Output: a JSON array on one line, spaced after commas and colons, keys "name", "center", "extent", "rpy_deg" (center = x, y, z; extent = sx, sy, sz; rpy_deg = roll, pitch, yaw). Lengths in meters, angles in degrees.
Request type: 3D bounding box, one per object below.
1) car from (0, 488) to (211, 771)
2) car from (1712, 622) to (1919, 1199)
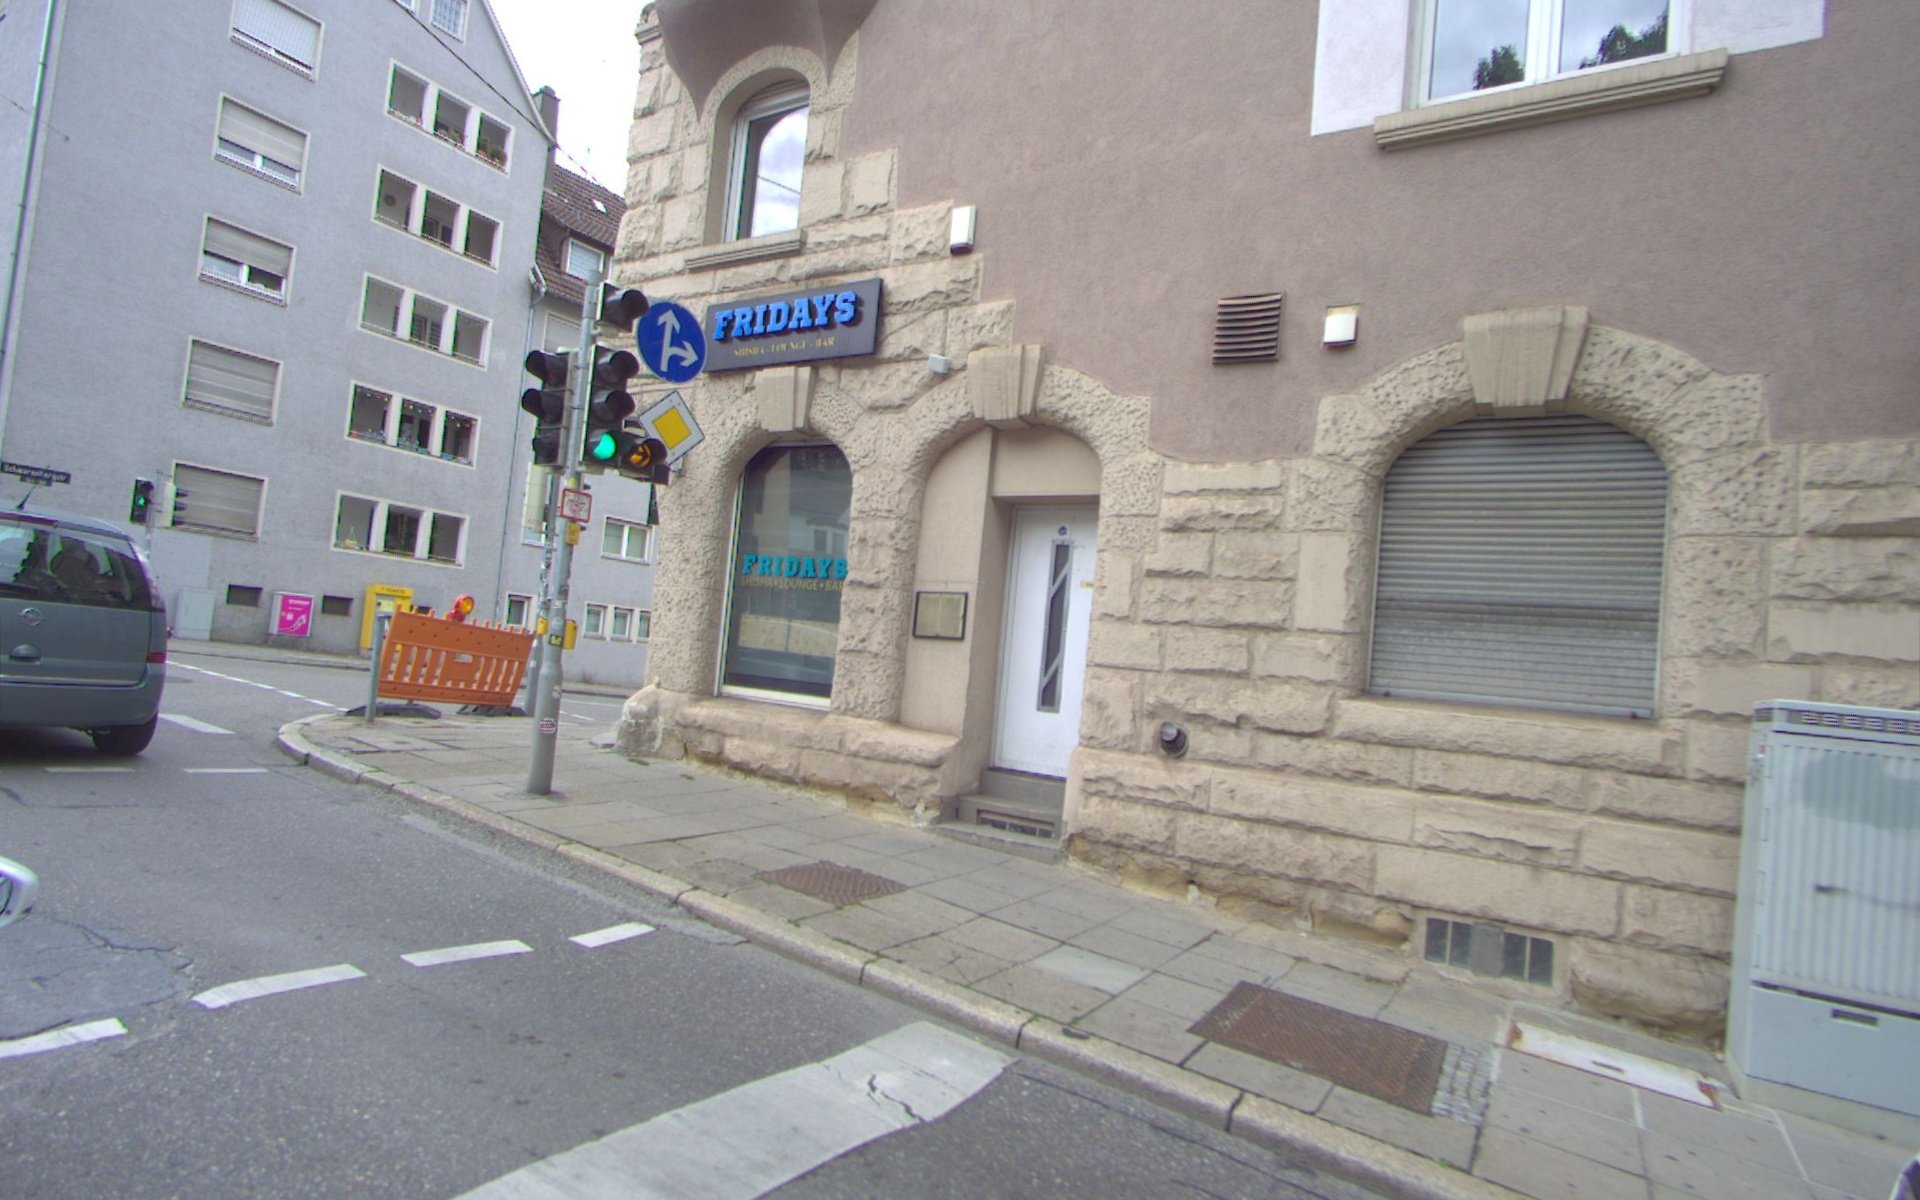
[{"name": "car", "center": [-6.964, 0.019, 6.828], "extent": [3.608, 1.615, 1.633], "rpy_deg": [7, -3, 32]}, {"name": "car", "center": [3.360, 1.165, 0.416], "extent": [4.597, 1.793, 1.983], "rpy_deg": [7, -5, 30]}]
